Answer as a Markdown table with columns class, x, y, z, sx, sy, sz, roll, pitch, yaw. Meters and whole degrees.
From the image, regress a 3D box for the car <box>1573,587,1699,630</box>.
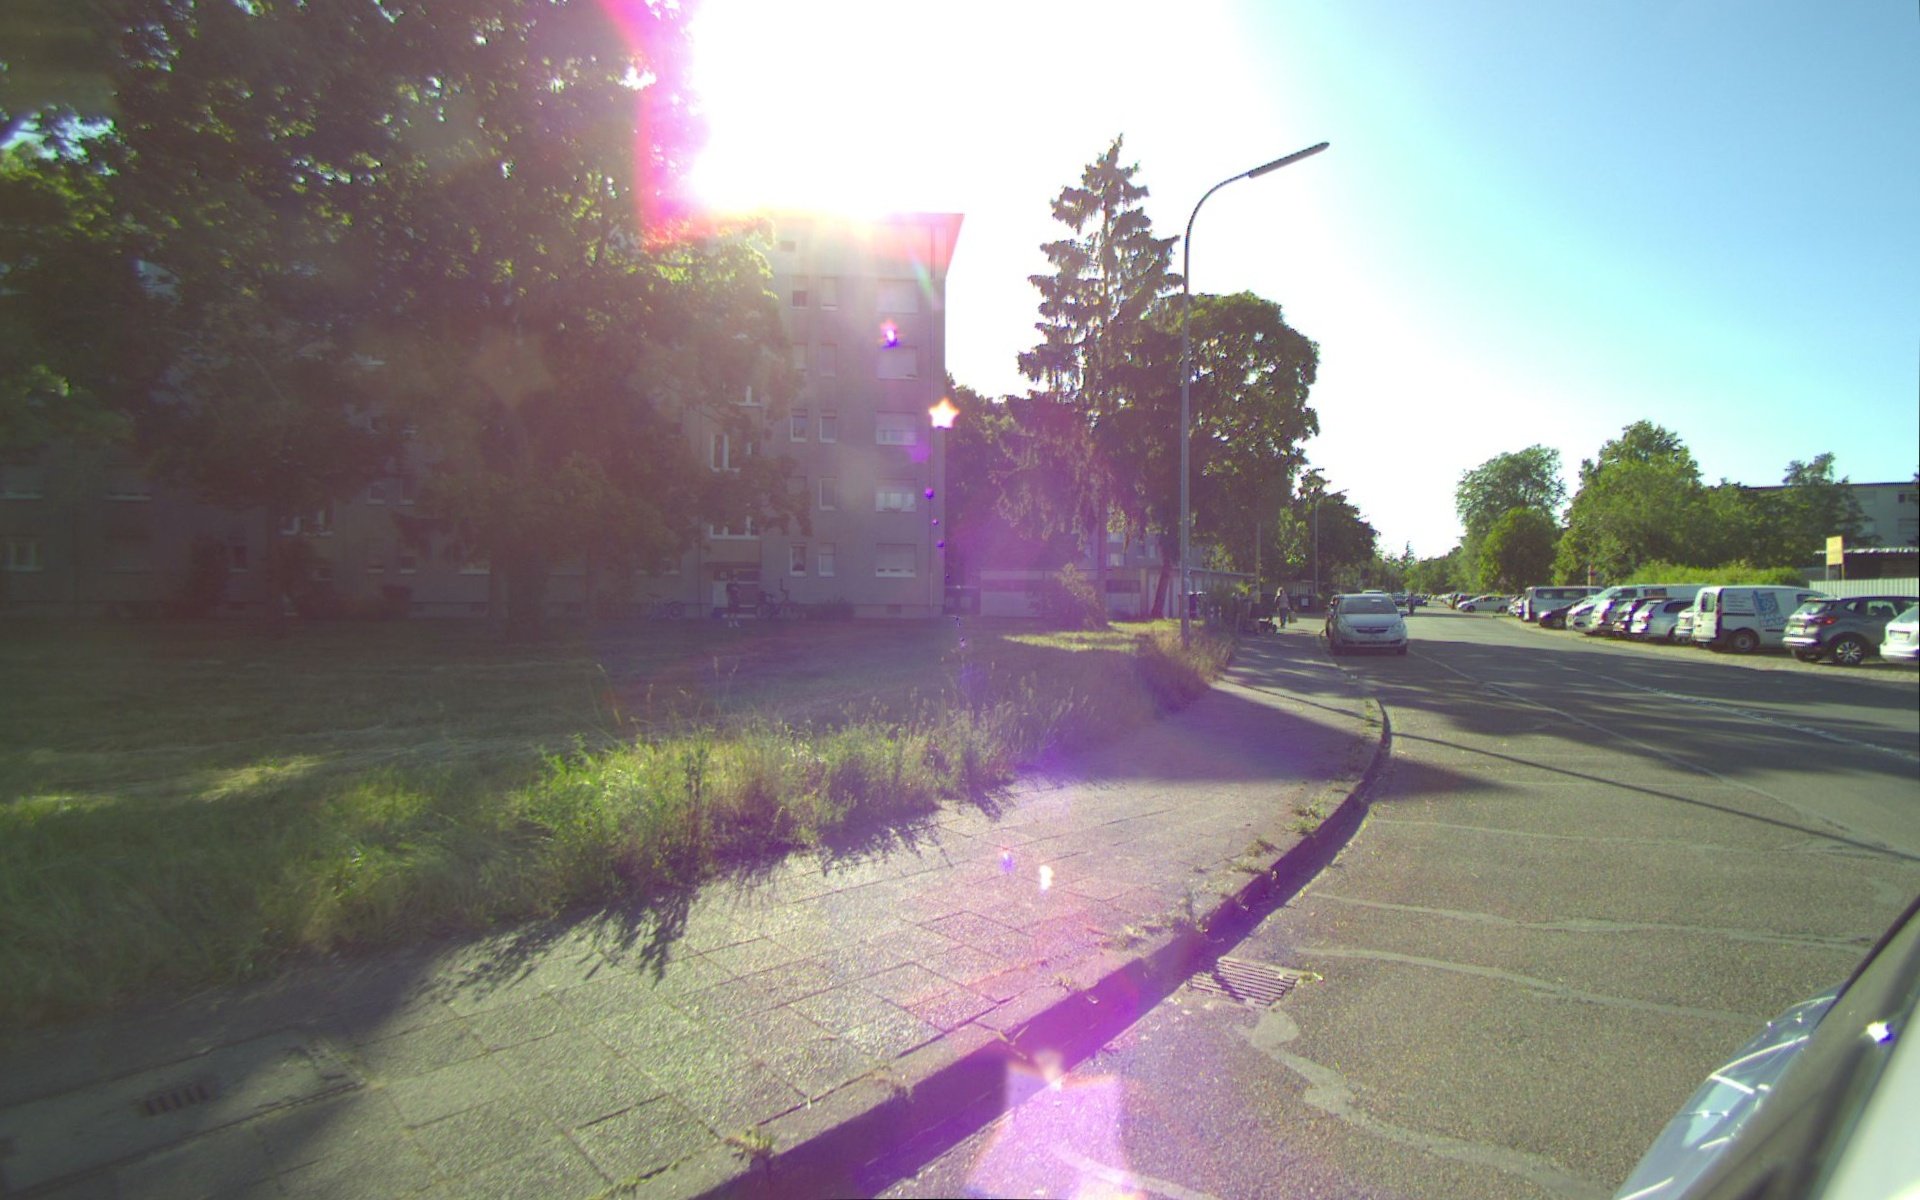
| class | x | y | z | sx | sy | sz | roll | pitch | yaw |
| --- | --- | --- | --- | --- | --- | --- | --- | --- | --- |
| car | 27.611 | 0.332 | 41.483 | 3.957 | 1.602 | 1.868 | -2 | 0 | 25 |

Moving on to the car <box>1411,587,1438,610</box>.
| class | x | y | z | sx | sy | sz | roll | pitch | yaw |
| --- | --- | --- | --- | --- | --- | --- | --- | --- | --- |
| car | 33.651 | -0.087 | 73.311 | 1.715 | 1.616 | 3.779 | -1 | -1 | 25 |

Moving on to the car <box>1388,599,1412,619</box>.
| class | x | y | z | sx | sy | sz | roll | pitch | yaw |
| --- | --- | --- | --- | --- | --- | --- | --- | --- | --- |
| car | 37.605 | 0.777 | 86.489 | 1.790 | 1.614 | 3.990 | -2 | -1 | 24 |

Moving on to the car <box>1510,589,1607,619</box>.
| class | x | y | z | sx | sy | sz | roll | pitch | yaw |
| --- | --- | --- | --- | --- | --- | --- | --- | --- | --- |
| car | 33.868 | 0.243 | 57.398 | 4.511 | 1.498 | 1.732 | -2 | -1 | 26 |

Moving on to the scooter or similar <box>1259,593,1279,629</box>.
| class | x | y | z | sx | sy | sz | roll | pitch | yaw |
| --- | --- | --- | --- | --- | --- | --- | --- | --- | --- |
| scooter or similar | 10.952 | 0.389 | 35.861 | 0.617 | 1.242 | 0.899 | 1 | 1 | 20 |

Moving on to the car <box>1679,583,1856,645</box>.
| class | x | y | z | sx | sy | sz | roll | pitch | yaw |
| --- | --- | --- | --- | --- | --- | --- | --- | --- | --- |
| car | 22.972 | 0.402 | 28.934 | 3.479 | 1.507 | 1.718 | -4 | 0 | 19 |

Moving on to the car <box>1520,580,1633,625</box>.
| class | x | y | z | sx | sy | sz | roll | pitch | yaw |
| --- | --- | --- | --- | --- | --- | --- | --- | --- | --- |
| car | 30.119 | 0.122 | 49.613 | 4.444 | 2.002 | 1.984 | -2 | 0 | 25 |

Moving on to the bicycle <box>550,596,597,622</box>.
| class | x | y | z | sx | sy | sz | roll | pitch | yaw |
| --- | --- | --- | --- | --- | --- | --- | --- | --- | --- |
| bicycle | -13.129 | 0.298 | 34.434 | 0.506 | 0.857 | 1.669 | -2 | 0 | 20 |

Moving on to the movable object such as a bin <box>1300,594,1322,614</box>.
| class | x | y | z | sx | sy | sz | roll | pitch | yaw |
| --- | --- | --- | --- | --- | --- | --- | --- | --- | --- |
| movable object such as a bin | 25.391 | 0.290 | 73.187 | 1.247 | 1.364 | 1.039 | 0 | 1 | 37 |

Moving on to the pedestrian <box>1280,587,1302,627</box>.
| class | x | y | z | sx | sy | sz | roll | pitch | yaw |
| --- | --- | --- | --- | --- | --- | --- | --- | --- | --- |
| pedestrian | 13.462 | 0.273 | 41.129 | 0.780 | 1.584 | 0.566 | -2 | -1 | 21 |

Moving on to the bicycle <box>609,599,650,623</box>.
| class | x | y | z | sx | sy | sz | roll | pitch | yaw |
| --- | --- | --- | --- | --- | --- | --- | --- | --- | --- |
| bicycle | -12.283 | 0.395 | 37.607 | 0.506 | 0.857 | 1.669 | -2 | 0 | 20 |

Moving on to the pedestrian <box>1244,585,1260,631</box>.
| class | x | y | z | sx | sy | sz | roll | pitch | yaw |
| --- | --- | --- | --- | --- | --- | --- | --- | --- | --- |
| pedestrian | 10.401 | 0.276 | 36.054 | 0.480 | 1.584 | 0.466 | 1 | 1 | 17 |

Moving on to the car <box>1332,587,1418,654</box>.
| class | x | y | z | sx | sy | sz | roll | pitch | yaw |
| --- | --- | --- | --- | --- | --- | --- | --- | --- | --- |
| car | 10.373 | 0.459 | 25.502 | 1.714 | 1.562 | 3.766 | -1 | 0 | 18 |

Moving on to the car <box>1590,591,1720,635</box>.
| class | x | y | z | sx | sy | sz | roll | pitch | yaw |
| --- | --- | --- | --- | --- | --- | --- | --- | --- | --- |
| car | 25.044 | 0.472 | 36.579 | 3.476 | 1.464 | 1.628 | -2 | 0 | 17 |

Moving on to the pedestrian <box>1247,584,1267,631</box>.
| class | x | y | z | sx | sy | sz | roll | pitch | yaw |
| --- | --- | --- | --- | --- | --- | --- | --- | --- | --- |
| pedestrian | 10.271 | 0.251 | 35.006 | 0.479 | 1.584 | 0.590 | 2 | 2 | 31 |

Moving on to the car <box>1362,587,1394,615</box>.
| class | x | y | z | sx | sy | sz | roll | pitch | yaw |
| --- | --- | --- | --- | --- | --- | --- | --- | --- | --- |
| car | 30.071 | 0.078 | 72.744 | 1.892 | 1.864 | 5.230 | -2 | -1 | 24 |

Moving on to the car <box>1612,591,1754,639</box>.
| class | x | y | z | sx | sy | sz | roll | pitch | yaw |
| --- | --- | --- | --- | --- | --- | --- | --- | --- | --- |
| car | 24.215 | 0.514 | 34.030 | 3.479 | 1.508 | 1.626 | -2 | -2 | 19 |

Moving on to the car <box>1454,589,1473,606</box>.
| class | x | y | z | sx | sy | sz | roll | pitch | yaw |
| --- | --- | --- | --- | --- | --- | --- | --- | --- | --- |
| car | 60.729 | -0.303 | 122.106 | 1.892 | 1.966 | 4.470 | 3 | 1 | 26 |

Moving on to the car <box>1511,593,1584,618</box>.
| class | x | y | z | sx | sy | sz | roll | pitch | yaw |
| --- | --- | --- | --- | --- | --- | --- | --- | --- | --- |
| car | 39.225 | 0.357 | 67.653 | 3.955 | 1.552 | 1.817 | -2 | 0 | 24 |

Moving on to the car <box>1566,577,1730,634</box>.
| class | x | y | z | sx | sy | sz | roll | pitch | yaw |
| --- | --- | --- | --- | --- | --- | --- | --- | --- | --- |
| car | 26.257 | 0.223 | 38.828 | 4.743 | 1.945 | 2.068 | -2 | -1 | 20 |

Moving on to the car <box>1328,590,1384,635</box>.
| class | x | y | z | sx | sy | sz | roll | pitch | yaw |
| --- | --- | --- | --- | --- | --- | --- | --- | --- | --- |
| car | 13.689 | 0.387 | 35.133 | 1.560 | 1.464 | 3.766 | -1 | 0 | 18 |

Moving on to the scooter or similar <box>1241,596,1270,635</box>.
| class | x | y | z | sx | sy | sz | roll | pitch | yaw |
| --- | --- | --- | --- | --- | --- | --- | --- | --- | --- |
| scooter or similar | 9.790 | 0.489 | 33.555 | 0.392 | 1.242 | 1.256 | 1 | 1 | -10 |

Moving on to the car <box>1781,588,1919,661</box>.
| class | x | y | z | sx | sy | sz | roll | pitch | yaw |
| --- | --- | --- | --- | --- | --- | --- | --- | --- | --- |
| car | 21.021 | 0.516 | 22.561 | 3.772 | 1.552 | 1.780 | -1 | 0 | 16 |

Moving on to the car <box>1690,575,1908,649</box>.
| class | x | y | z | sx | sy | sz | roll | pitch | yaw |
| --- | --- | --- | --- | --- | --- | --- | --- | --- | --- |
| car | 22.177 | 0.332 | 26.961 | 3.937 | 1.803 | 1.914 | -2 | -1 | 18 |

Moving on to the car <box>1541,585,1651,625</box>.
| class | x | y | z | sx | sy | sz | roll | pitch | yaw |
| --- | --- | --- | --- | --- | --- | --- | --- | --- | --- |
| car | 29.203 | 0.234 | 46.611 | 4.131 | 1.727 | 1.863 | -2 | 0 | 32 |

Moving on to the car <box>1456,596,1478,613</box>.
| class | x | y | z | sx | sy | sz | roll | pitch | yaw |
| --- | --- | --- | --- | --- | --- | --- | --- | --- | --- |
| car | 50.387 | 0.462 | 100.710 | 1.767 | 1.594 | 4.385 | -1 | -1 | 25 |

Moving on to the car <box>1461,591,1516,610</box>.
| class | x | y | z | sx | sy | sz | roll | pitch | yaw |
| --- | --- | --- | --- | --- | --- | --- | --- | --- | --- |
| car | 46.124 | 0.067 | 88.390 | 3.948 | 1.475 | 1.554 | -2 | 0 | 19 |

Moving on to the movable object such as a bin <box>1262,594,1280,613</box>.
| class | x | y | z | sx | sy | sz | roll | pitch | yaw |
| --- | --- | --- | --- | --- | --- | --- | --- | --- | --- |
| movable object such as a bin | 23.119 | 0.255 | 75.265 | 1.073 | 1.364 | 0.853 | 0 | 1 | 37 |

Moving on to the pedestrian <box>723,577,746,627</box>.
| class | x | y | z | sx | sy | sz | roll | pitch | yaw |
| --- | --- | --- | --- | --- | --- | --- | --- | --- | --- |
| pedestrian | -7.624 | 0.064 | 34.206 | 0.487 | 1.683 | 0.530 | -2 | -1 | 31 |

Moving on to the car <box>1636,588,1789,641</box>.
| class | x | y | z | sx | sy | sz | roll | pitch | yaw |
| --- | --- | --- | --- | --- | --- | --- | --- | --- | --- |
| car | 23.468 | 0.458 | 31.721 | 3.486 | 1.508 | 1.623 | -2 | -1 | 24 |

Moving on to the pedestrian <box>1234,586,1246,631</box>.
| class | x | y | z | sx | sy | sz | roll | pitch | yaw |
| --- | --- | --- | --- | --- | --- | --- | --- | --- | --- |
| pedestrian | 9.638 | 0.302 | 34.816 | 0.358 | 1.522 | 0.498 | 1 | 1 | 18 |

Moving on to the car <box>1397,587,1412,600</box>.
| class | x | y | z | sx | sy | sz | roll | pitch | yaw |
| --- | --- | --- | --- | --- | --- | --- | --- | --- | --- |
| car | 56.036 | -0.805 | 127.588 | 1.715 | 1.490 | 3.779 | -1 | -1 | 25 |

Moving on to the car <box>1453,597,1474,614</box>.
| class | x | y | z | sx | sy | sz | roll | pitch | yaw |
| --- | --- | --- | --- | --- | --- | --- | --- | --- | --- |
| car | 54.471 | 0.560 | 109.500 | 1.800 | 1.703 | 3.616 | 3 | 1 | 25 |

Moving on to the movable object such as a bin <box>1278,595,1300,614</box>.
| class | x | y | z | sx | sy | sz | roll | pitch | yaw |
| --- | --- | --- | --- | --- | --- | --- | --- | --- | --- |
| movable object such as a bin | 24.181 | 0.292 | 74.328 | 1.247 | 1.364 | 1.039 | 0 | 1 | 37 |

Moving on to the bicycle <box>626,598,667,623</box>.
| class | x | y | z | sx | sy | sz | roll | pitch | yaw |
| --- | --- | --- | --- | --- | --- | --- | --- | --- | --- |
| bicycle | -11.590 | 0.370 | 37.442 | 0.506 | 0.857 | 1.669 | -2 | 0 | 20 |

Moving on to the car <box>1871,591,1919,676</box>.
| class | x | y | z | sx | sy | sz | roll | pitch | yaw |
| --- | --- | --- | --- | --- | --- | --- | --- | --- | --- |
| car | 19.470 | 0.552 | 18.205 | 4.098 | 1.511 | 1.913 | -2 | 0 | 20 |
